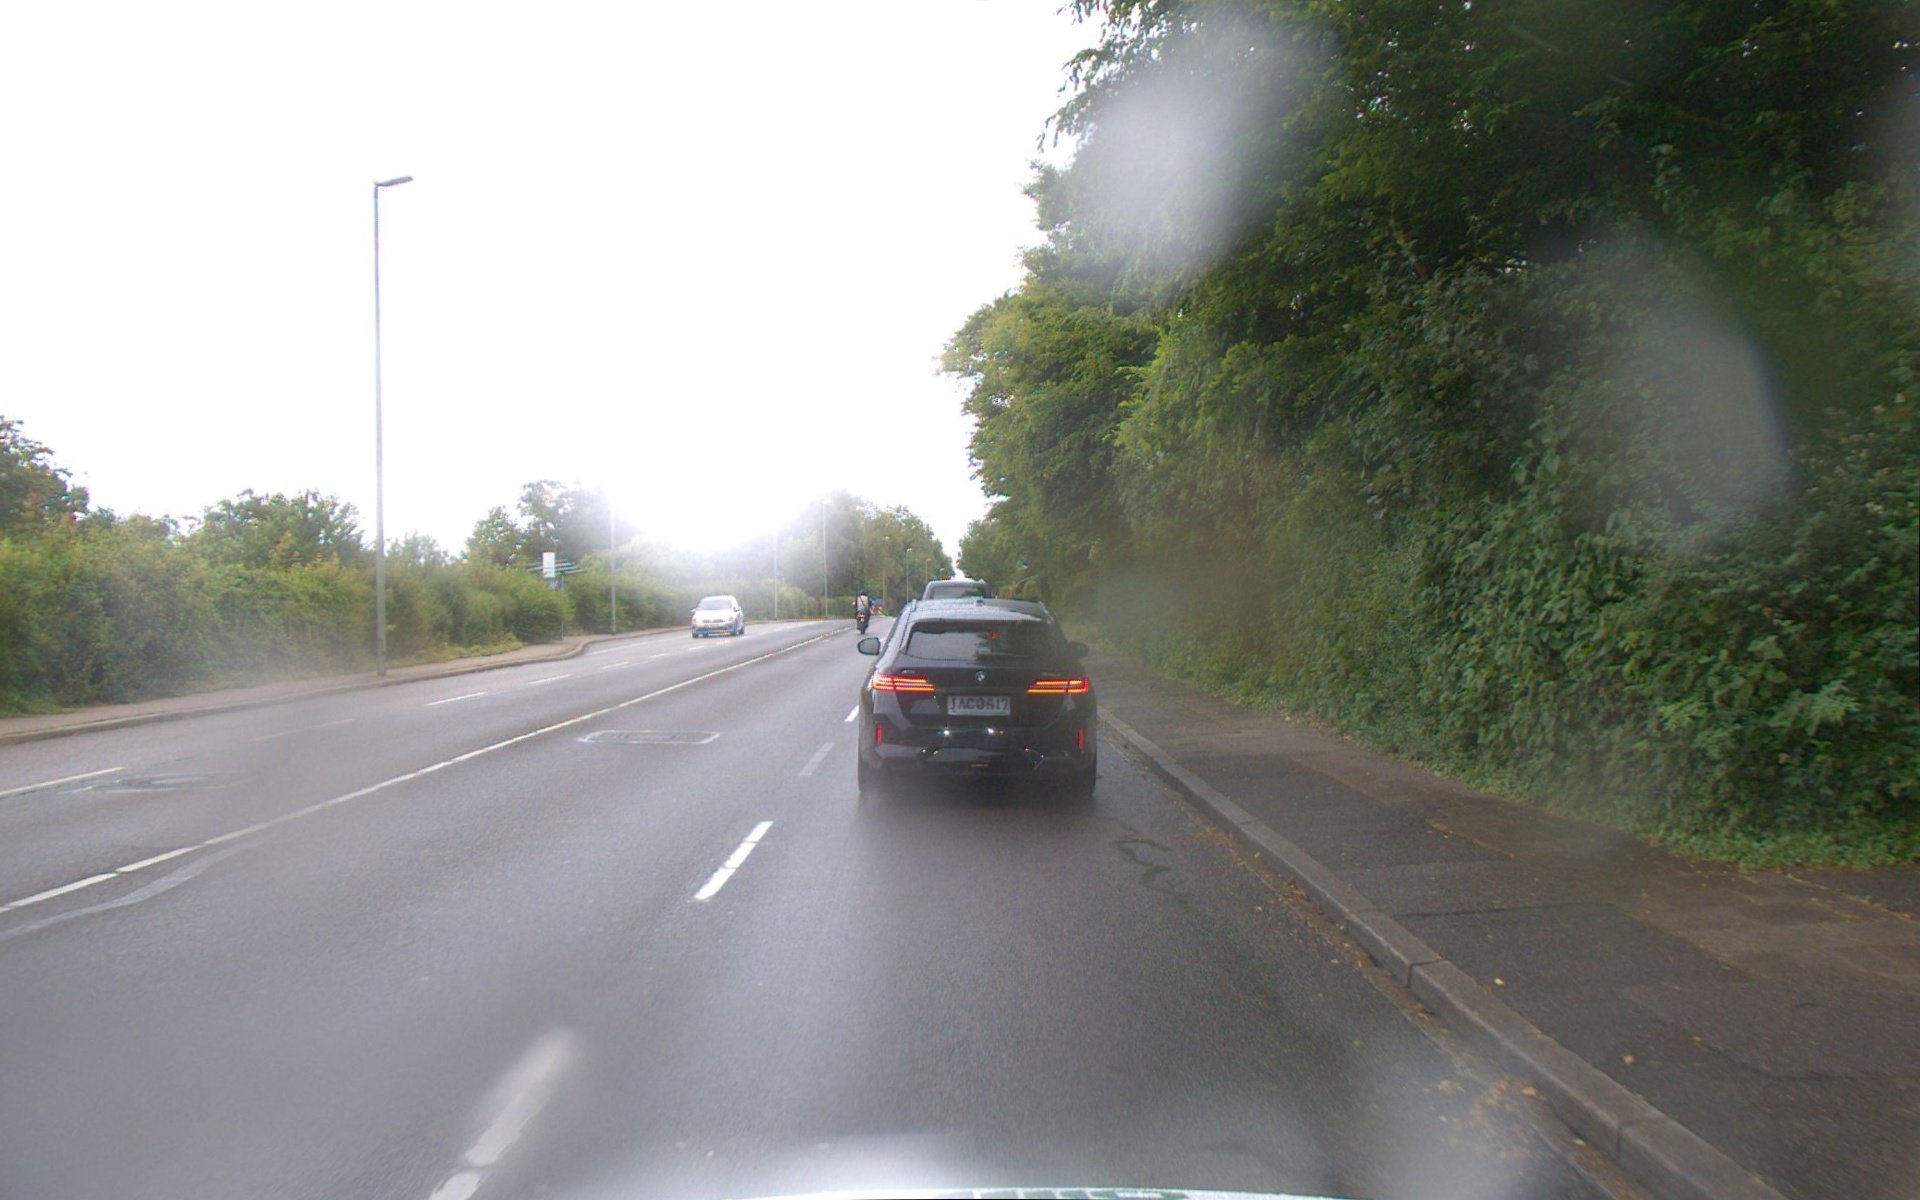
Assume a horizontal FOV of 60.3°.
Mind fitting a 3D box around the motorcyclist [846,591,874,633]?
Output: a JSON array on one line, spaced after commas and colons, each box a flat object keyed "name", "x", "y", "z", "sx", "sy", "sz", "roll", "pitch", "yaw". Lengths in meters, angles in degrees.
[{"name": "motorcyclist", "x": -3.811, "y": 0.453, "z": 63.047, "sx": 1.018, "sy": 1.595, "sz": 0.855, "roll": 1, "pitch": -1, "yaw": -1}]

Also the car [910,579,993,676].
[{"name": "car", "x": -0.167, "y": 0.542, "z": 34.701, "sx": 1.596, "sy": 1.865, "sz": 4.000, "roll": -1, "pitch": 0, "yaw": 0}]

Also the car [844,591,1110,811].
[{"name": "car", "x": 0.153, "y": 0.728, "z": 13.738, "sx": 1.858, "sy": 1.515, "sz": 4.000, "roll": 1, "pitch": 0, "yaw": 1}]

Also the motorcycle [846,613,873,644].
[{"name": "motorcycle", "x": -3.834, "y": 1.078, "z": 63.123, "sx": 0.858, "sy": 1.144, "sz": 2.740, "roll": 1, "pitch": -1, "yaw": 0}]

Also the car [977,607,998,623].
[{"name": "car", "x": 2.617, "y": 1.449, "z": 157.068, "sx": 1.895, "sy": 1.467, "sz": 4.409, "roll": -2, "pitch": 0, "yaw": 2}]

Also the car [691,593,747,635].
[{"name": "car", "x": -9.634, "y": 0.547, "z": 66.461, "sx": 1.721, "sy": 1.596, "sz": 3.999, "roll": -2, "pitch": 0, "yaw": -2}]
